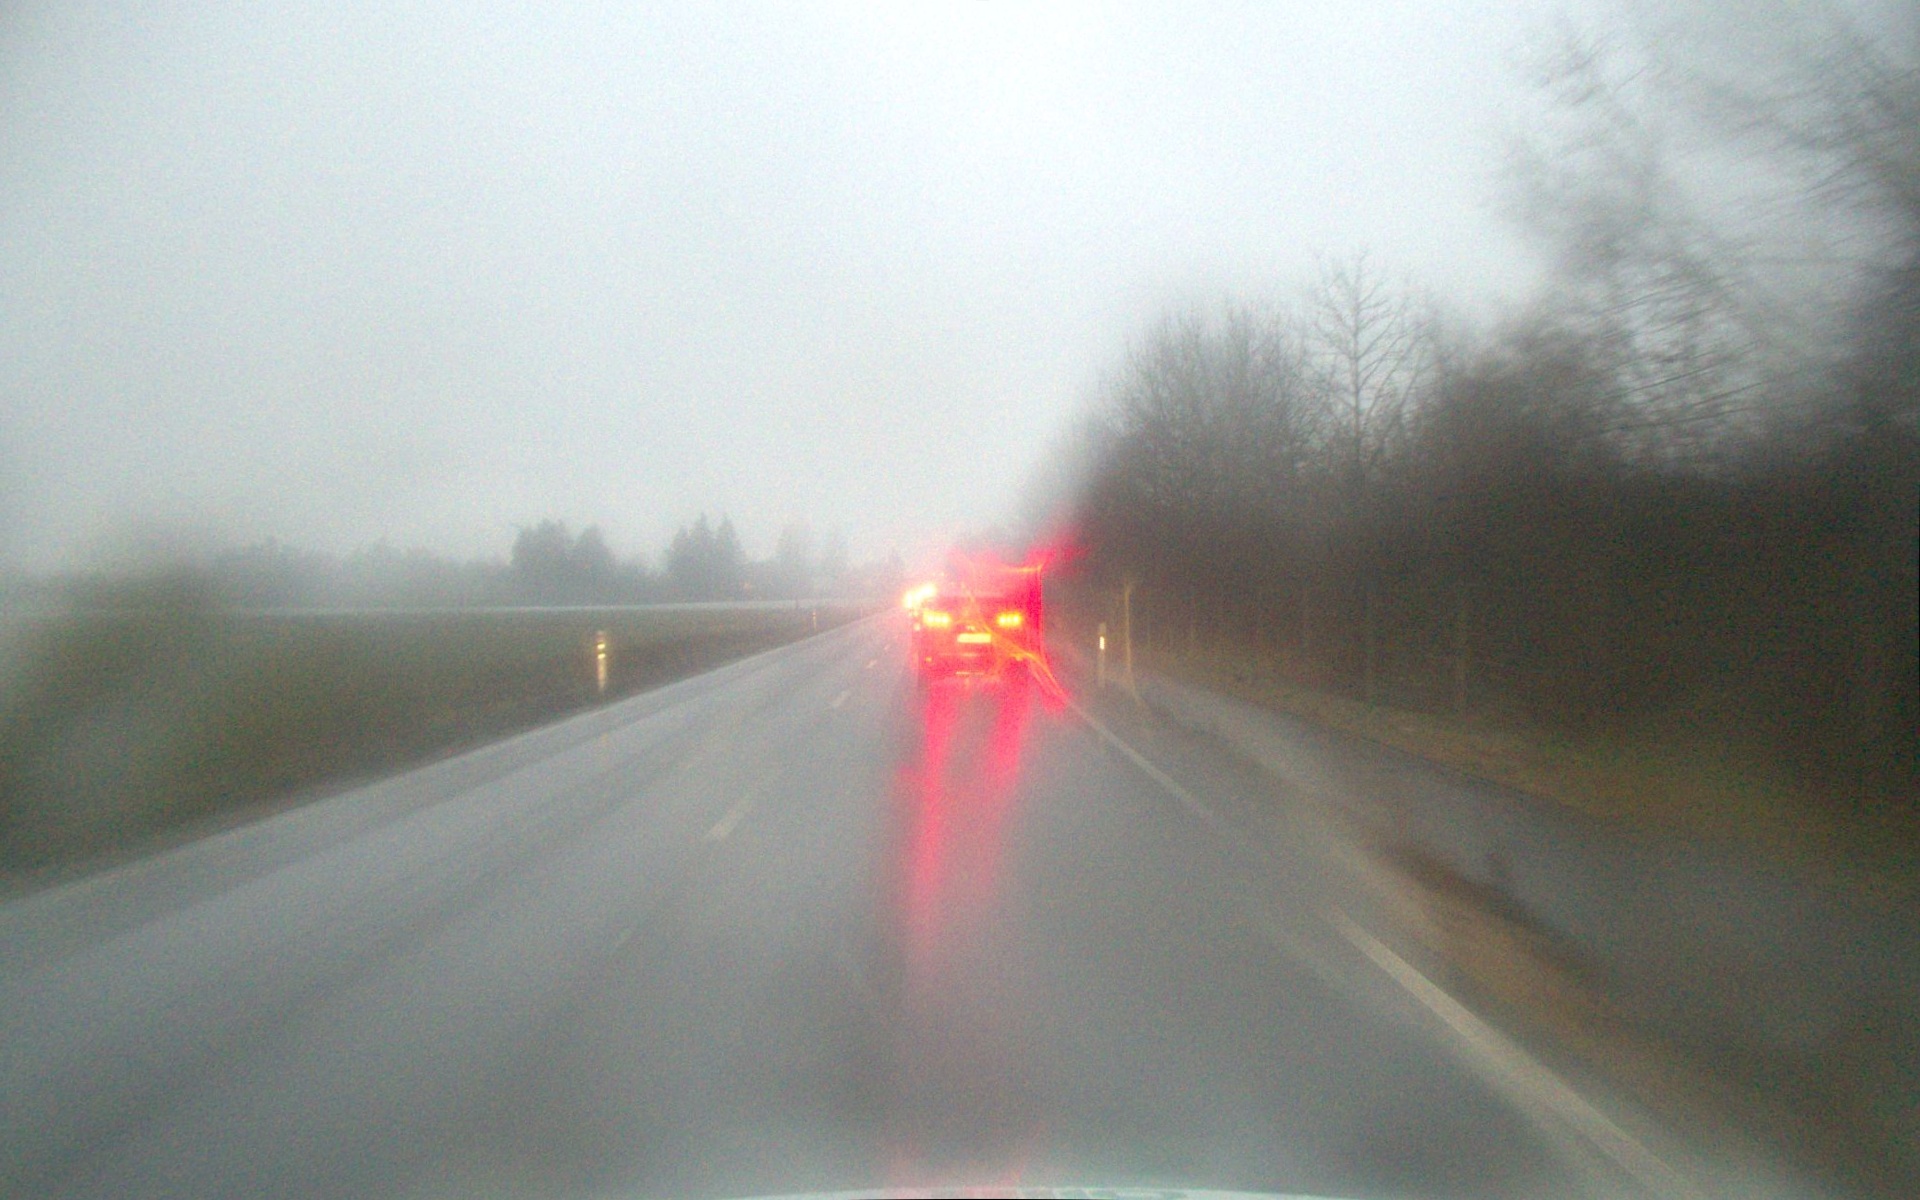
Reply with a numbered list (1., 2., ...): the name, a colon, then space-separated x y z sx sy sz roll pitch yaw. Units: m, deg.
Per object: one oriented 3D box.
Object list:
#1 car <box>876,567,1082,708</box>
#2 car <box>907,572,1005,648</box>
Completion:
1. car: 0.261 0.540 28.483 3.100 2.071 6.851 -1 0 -1
2. car: -0.140 0.247 49.607 2.700 2.071 6.590 -1 0 -1
